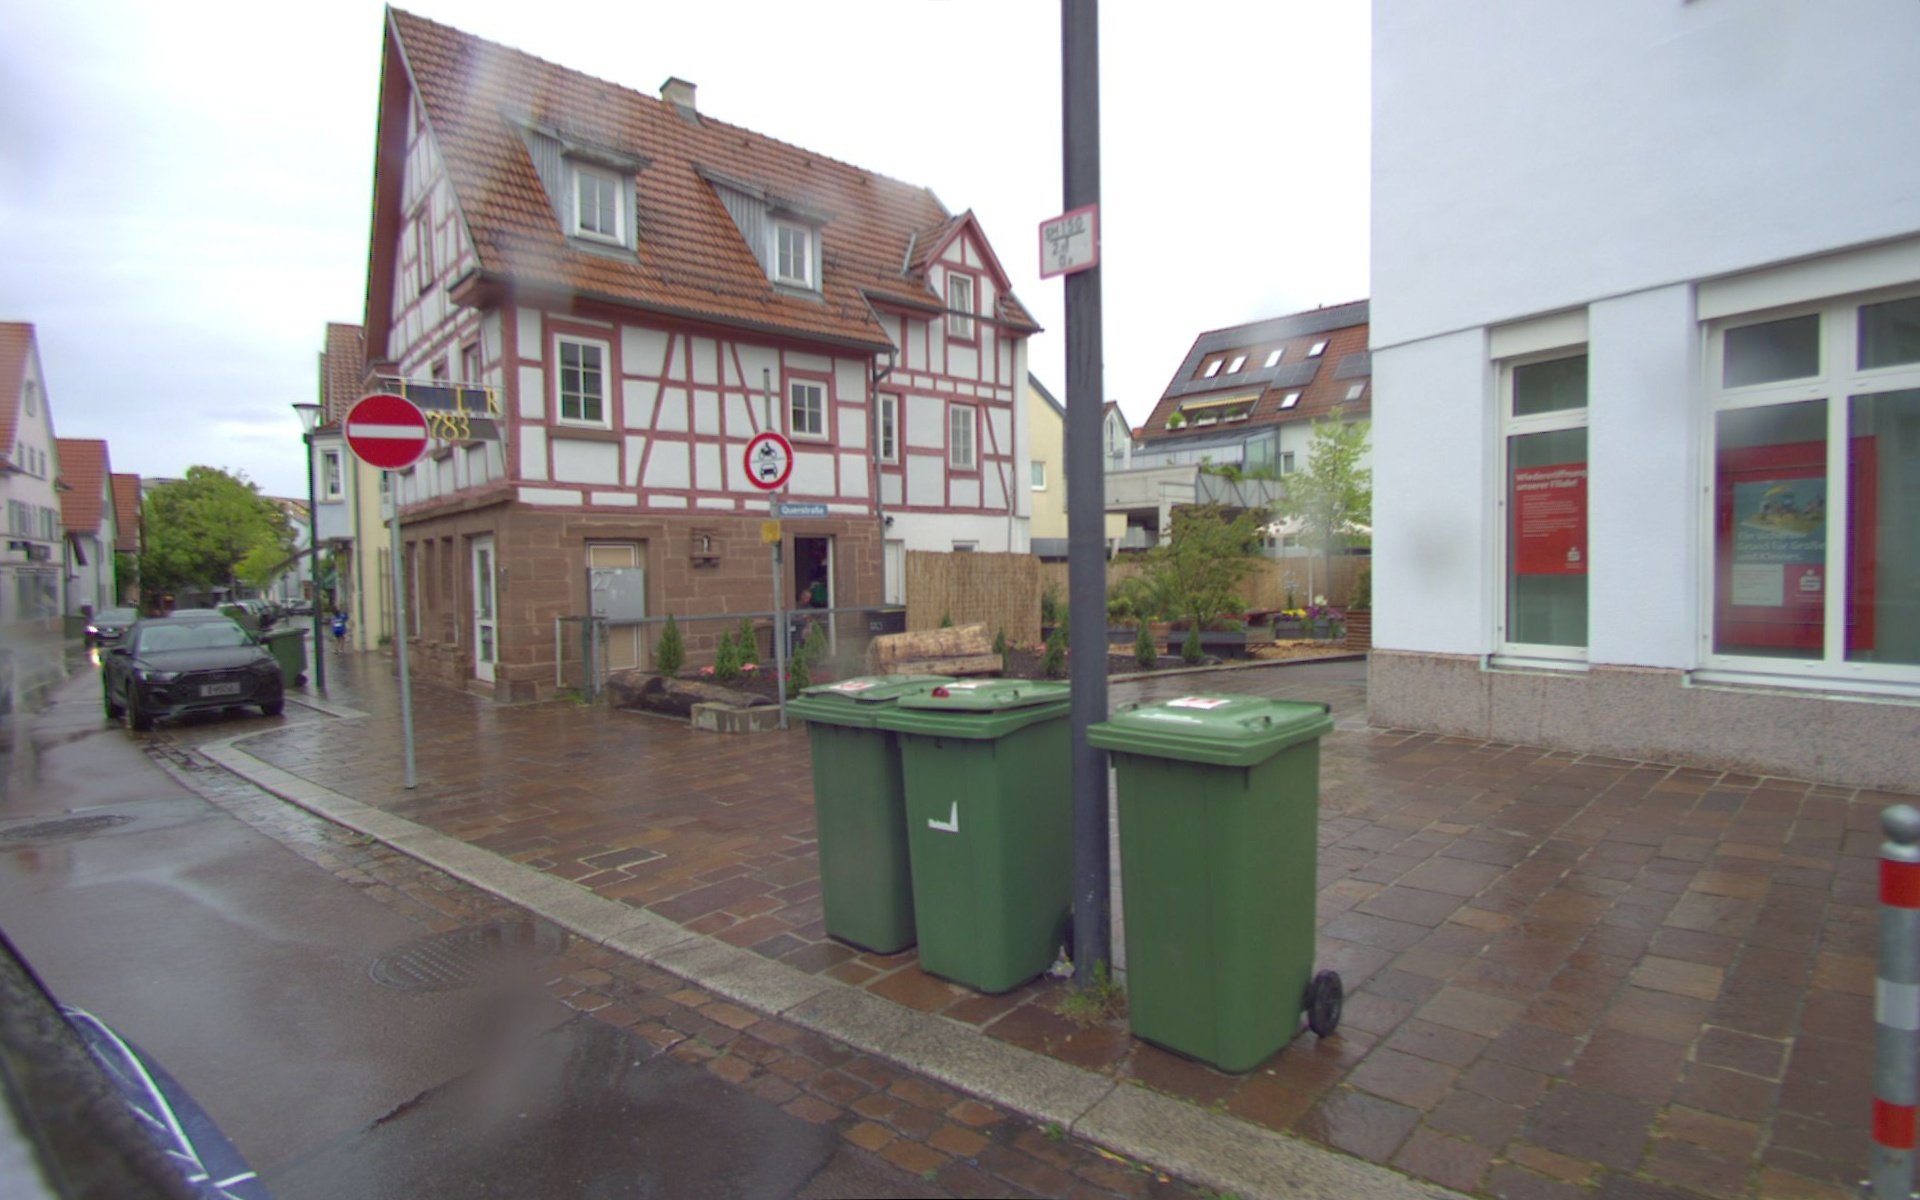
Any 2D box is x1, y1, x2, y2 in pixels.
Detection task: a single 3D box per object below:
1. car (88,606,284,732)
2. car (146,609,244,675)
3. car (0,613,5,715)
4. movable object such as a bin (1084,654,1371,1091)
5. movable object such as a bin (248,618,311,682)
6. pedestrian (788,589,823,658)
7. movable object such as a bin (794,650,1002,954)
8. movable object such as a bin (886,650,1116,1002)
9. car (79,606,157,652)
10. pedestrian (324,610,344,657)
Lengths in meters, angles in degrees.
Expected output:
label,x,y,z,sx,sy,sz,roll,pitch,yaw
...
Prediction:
label,x,y,z,sx,sy,sz,roll,pitch,yaw
car,-11.418,0.899,14.828,4.002,1.497,1.671,-1,3,44
car,-21.152,1.096,28.083,1.968,1.540,4.009,-5,2,-36
car,-16.456,1.008,16.129,1.711,1.567,3.849,-1,0,-43
movable object such as a bin,0.832,0.746,3.130,0.613,1.104,0.651,-1,0,43
movable object such as a bin,-12.710,0.920,18.898,0.823,1.120,0.920,-1,0,-44
pedestrian,-2.670,0.394,17.486,0.406,1.163,0.425,-2,0,-42
movable object such as a bin,-0.256,0.778,4.223,0.553,1.090,0.651,-1,0,45
movable object such as a bin,0.157,0.772,3.793,0.553,1.123,0.651,-1,0,45
car,-34.345,1.139,41.380,1.966,1.763,4.011,-1,0,-33
pedestrian,-17.766,0.944,28.717,0.448,1.317,0.518,-1,0,-35
